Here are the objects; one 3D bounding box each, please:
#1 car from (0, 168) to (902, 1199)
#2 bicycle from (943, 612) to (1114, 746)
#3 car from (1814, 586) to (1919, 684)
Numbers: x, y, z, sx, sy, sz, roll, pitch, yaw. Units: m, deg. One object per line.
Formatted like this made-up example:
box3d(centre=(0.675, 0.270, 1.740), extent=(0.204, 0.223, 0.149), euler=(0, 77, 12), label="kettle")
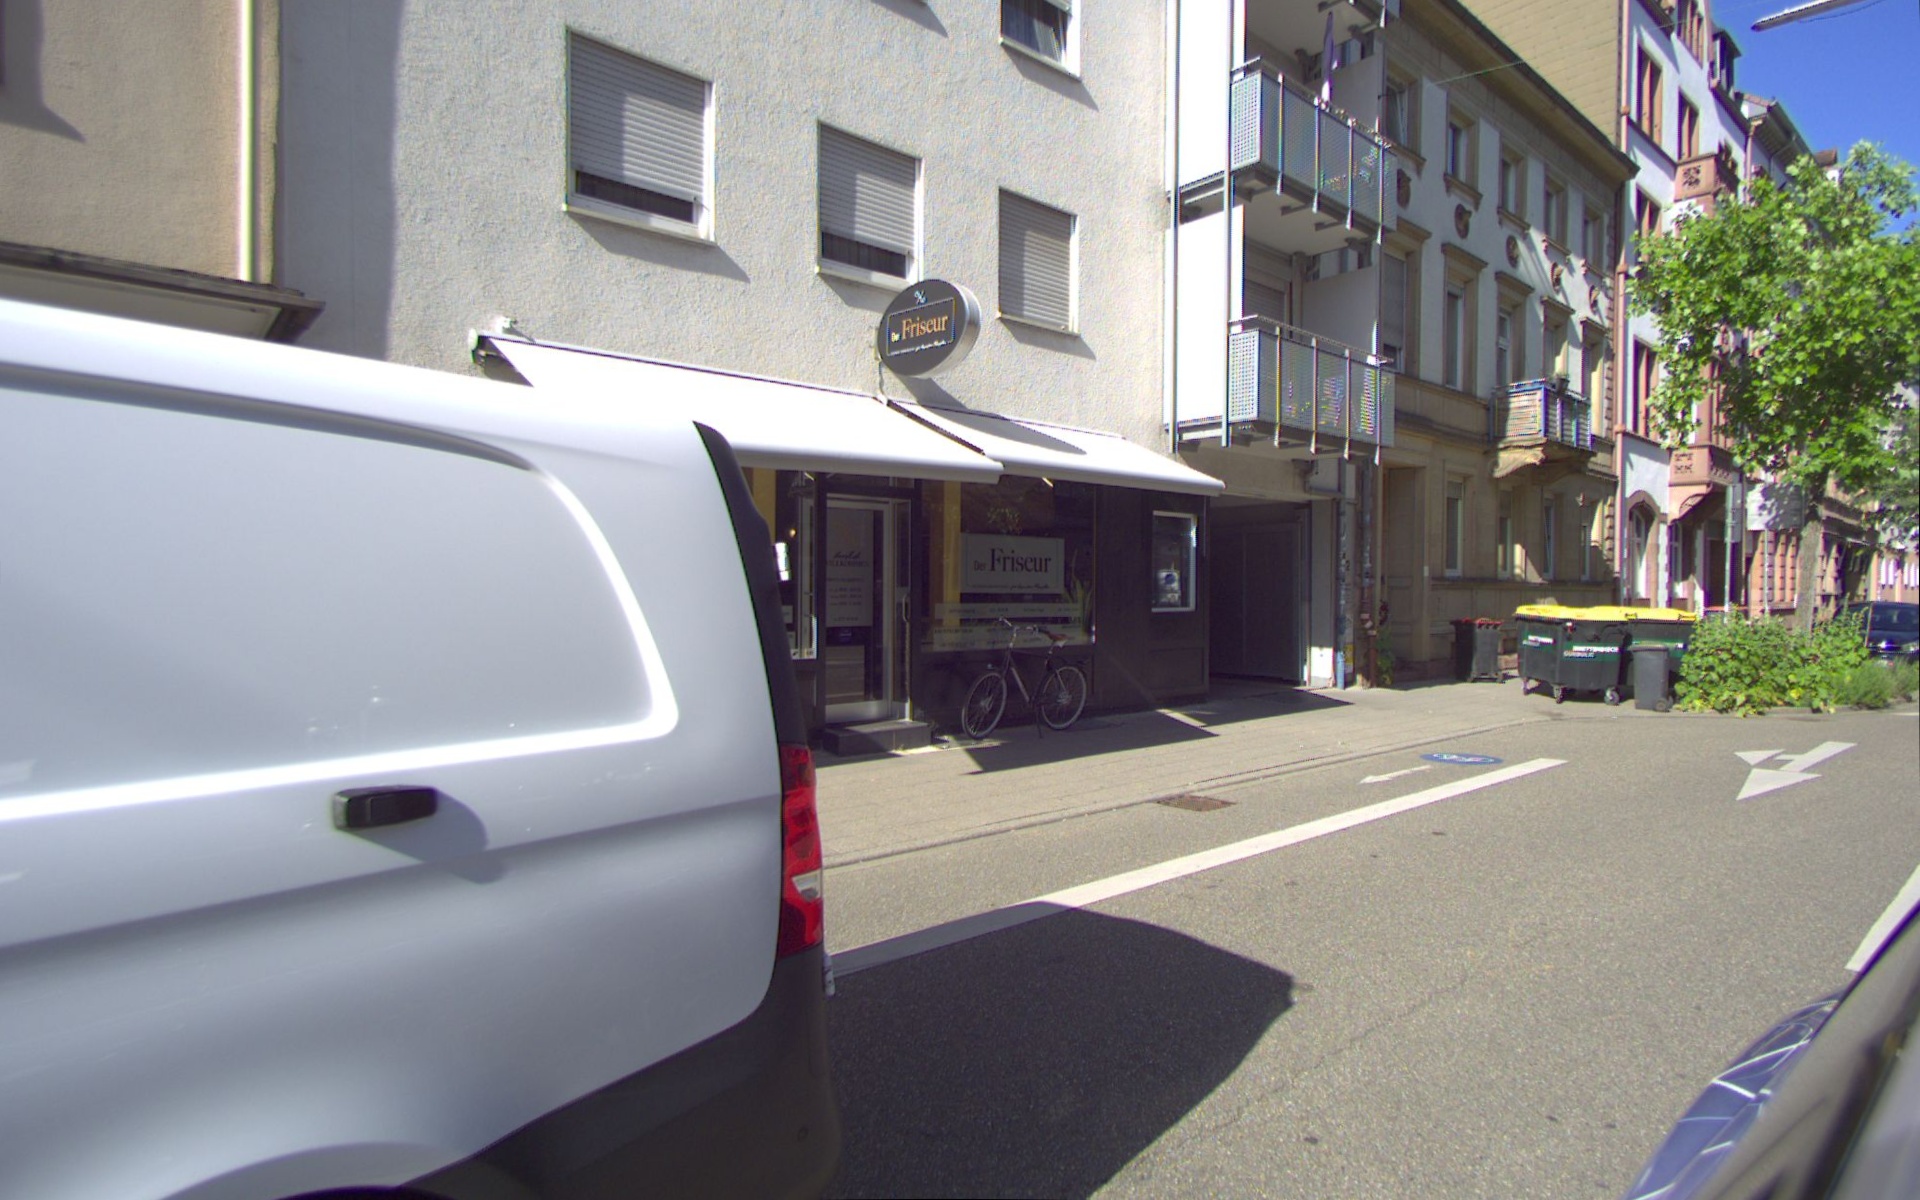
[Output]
box3d(centre=(-2.513, 0.483, 0.951), extent=(4.750, 1.833, 1.971), euler=(-1, 1, -42), label="car")
box3d(centre=(0.703, 0.735, 10.062), extent=(1.743, 1.157, 0.598), euler=(0, 3, -41), label="bicycle")
box3d(centre=(16.855, 0.569, 18.317), extent=(3.485, 1.616, 1.626), euler=(0, 1, -41), label="car")
